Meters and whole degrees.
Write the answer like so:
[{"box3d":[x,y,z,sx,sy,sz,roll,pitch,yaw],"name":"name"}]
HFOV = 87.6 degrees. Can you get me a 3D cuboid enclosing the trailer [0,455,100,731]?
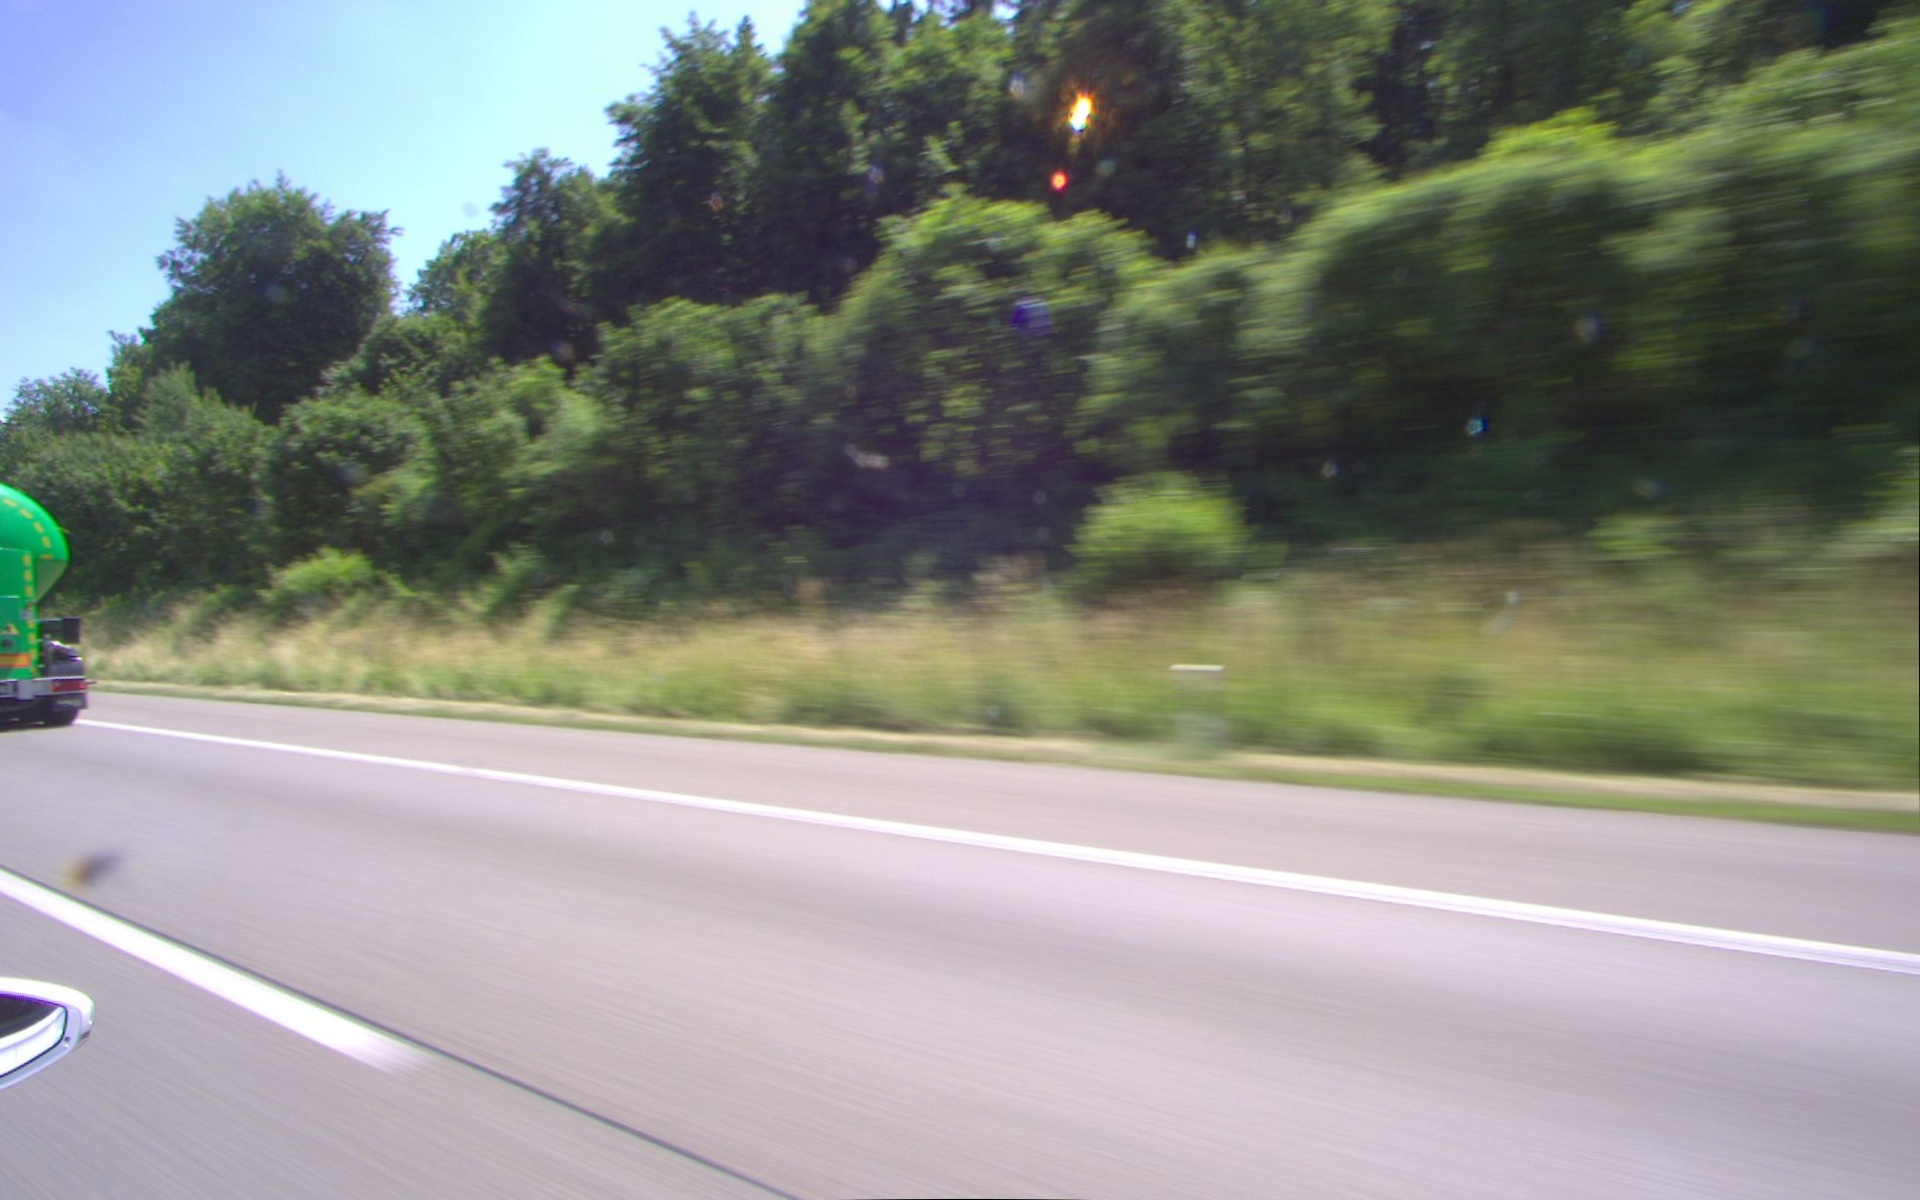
[{"box3d":[-18.535,-0.042,17.594,10.326,4.080,2.581,-1,-1,34],"name":"trailer"}]
